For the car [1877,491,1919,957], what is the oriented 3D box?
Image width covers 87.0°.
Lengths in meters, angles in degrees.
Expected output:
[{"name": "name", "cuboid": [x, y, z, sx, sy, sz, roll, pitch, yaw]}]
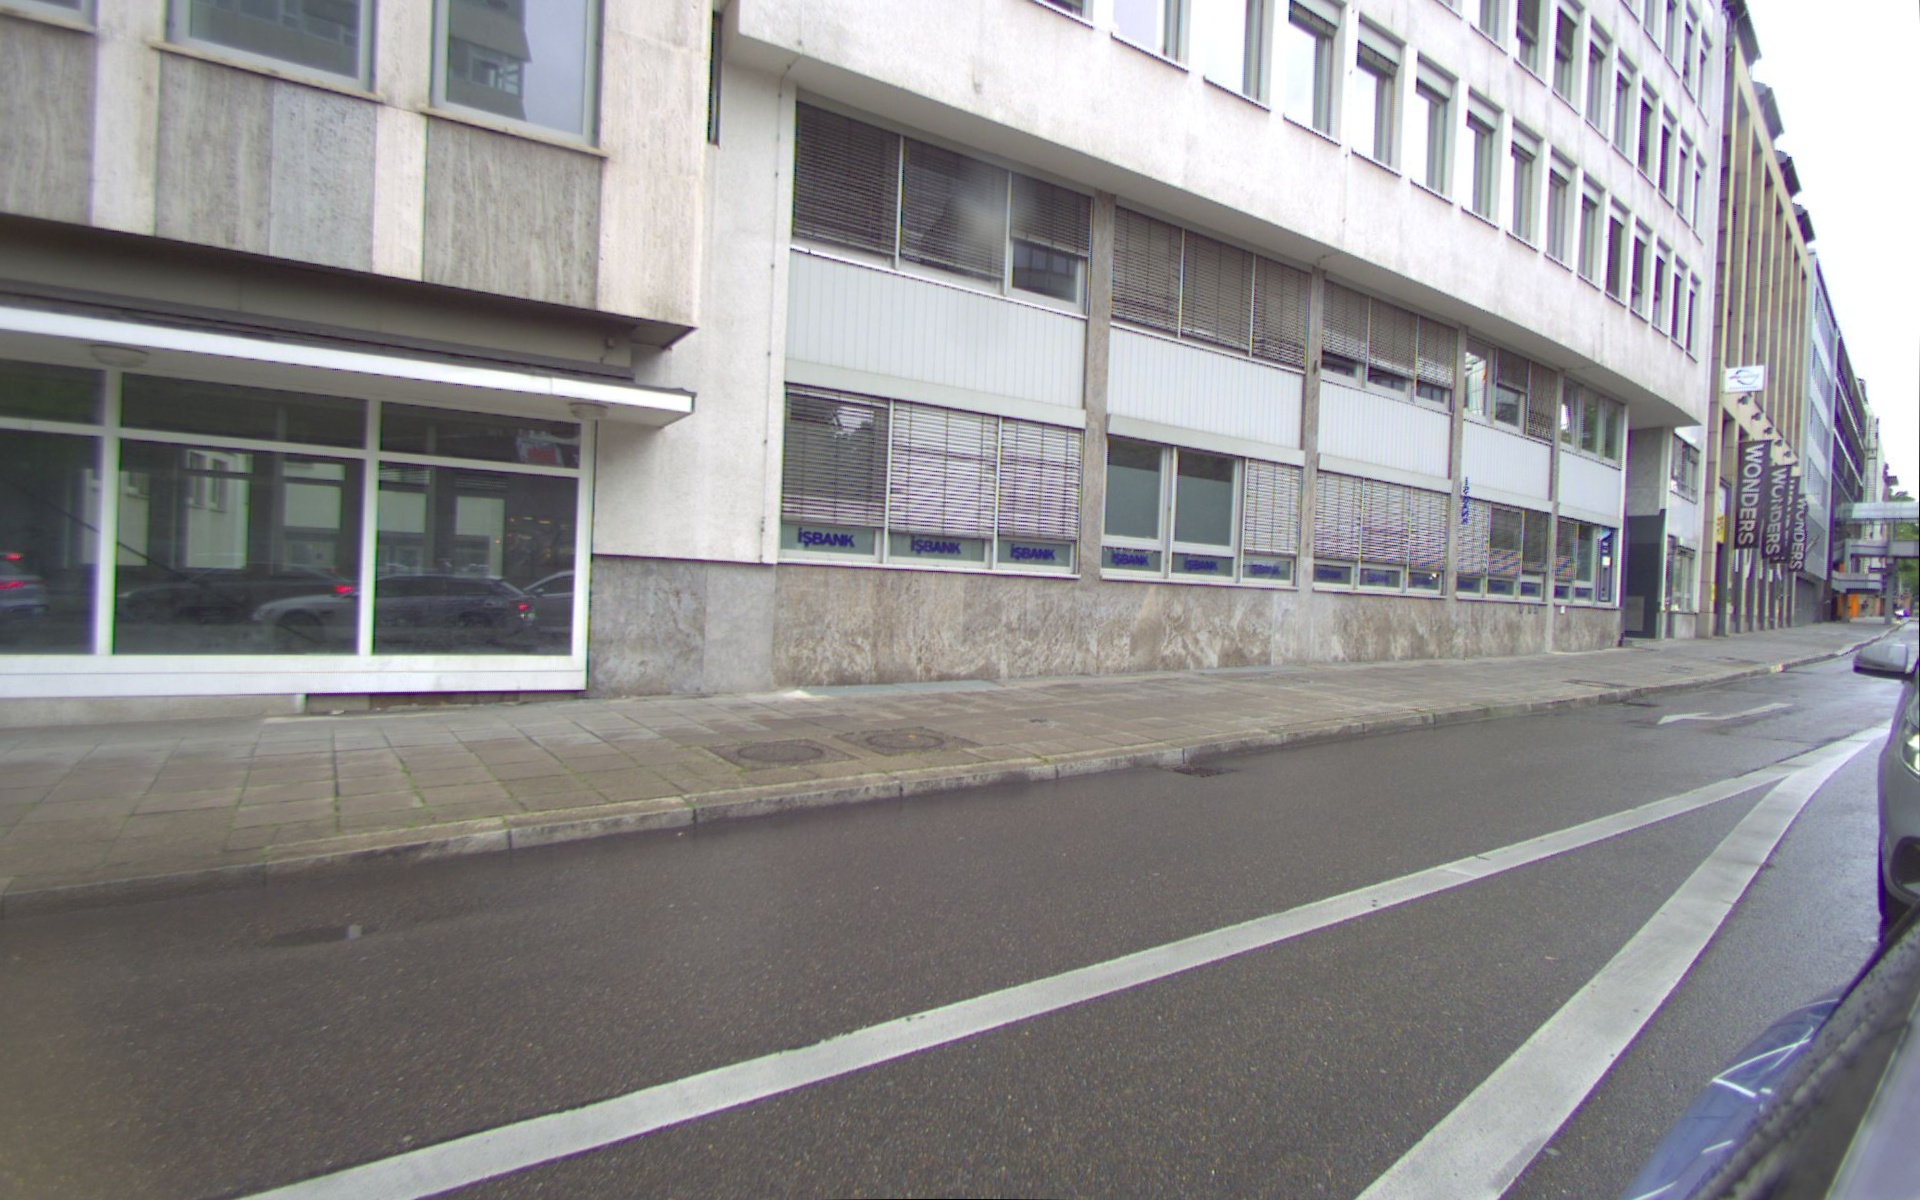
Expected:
[{"name": "car", "cuboid": [6.251, 0.513, 5.124, 4.940, 1.879, 1.914, 0, 0, -42]}]
